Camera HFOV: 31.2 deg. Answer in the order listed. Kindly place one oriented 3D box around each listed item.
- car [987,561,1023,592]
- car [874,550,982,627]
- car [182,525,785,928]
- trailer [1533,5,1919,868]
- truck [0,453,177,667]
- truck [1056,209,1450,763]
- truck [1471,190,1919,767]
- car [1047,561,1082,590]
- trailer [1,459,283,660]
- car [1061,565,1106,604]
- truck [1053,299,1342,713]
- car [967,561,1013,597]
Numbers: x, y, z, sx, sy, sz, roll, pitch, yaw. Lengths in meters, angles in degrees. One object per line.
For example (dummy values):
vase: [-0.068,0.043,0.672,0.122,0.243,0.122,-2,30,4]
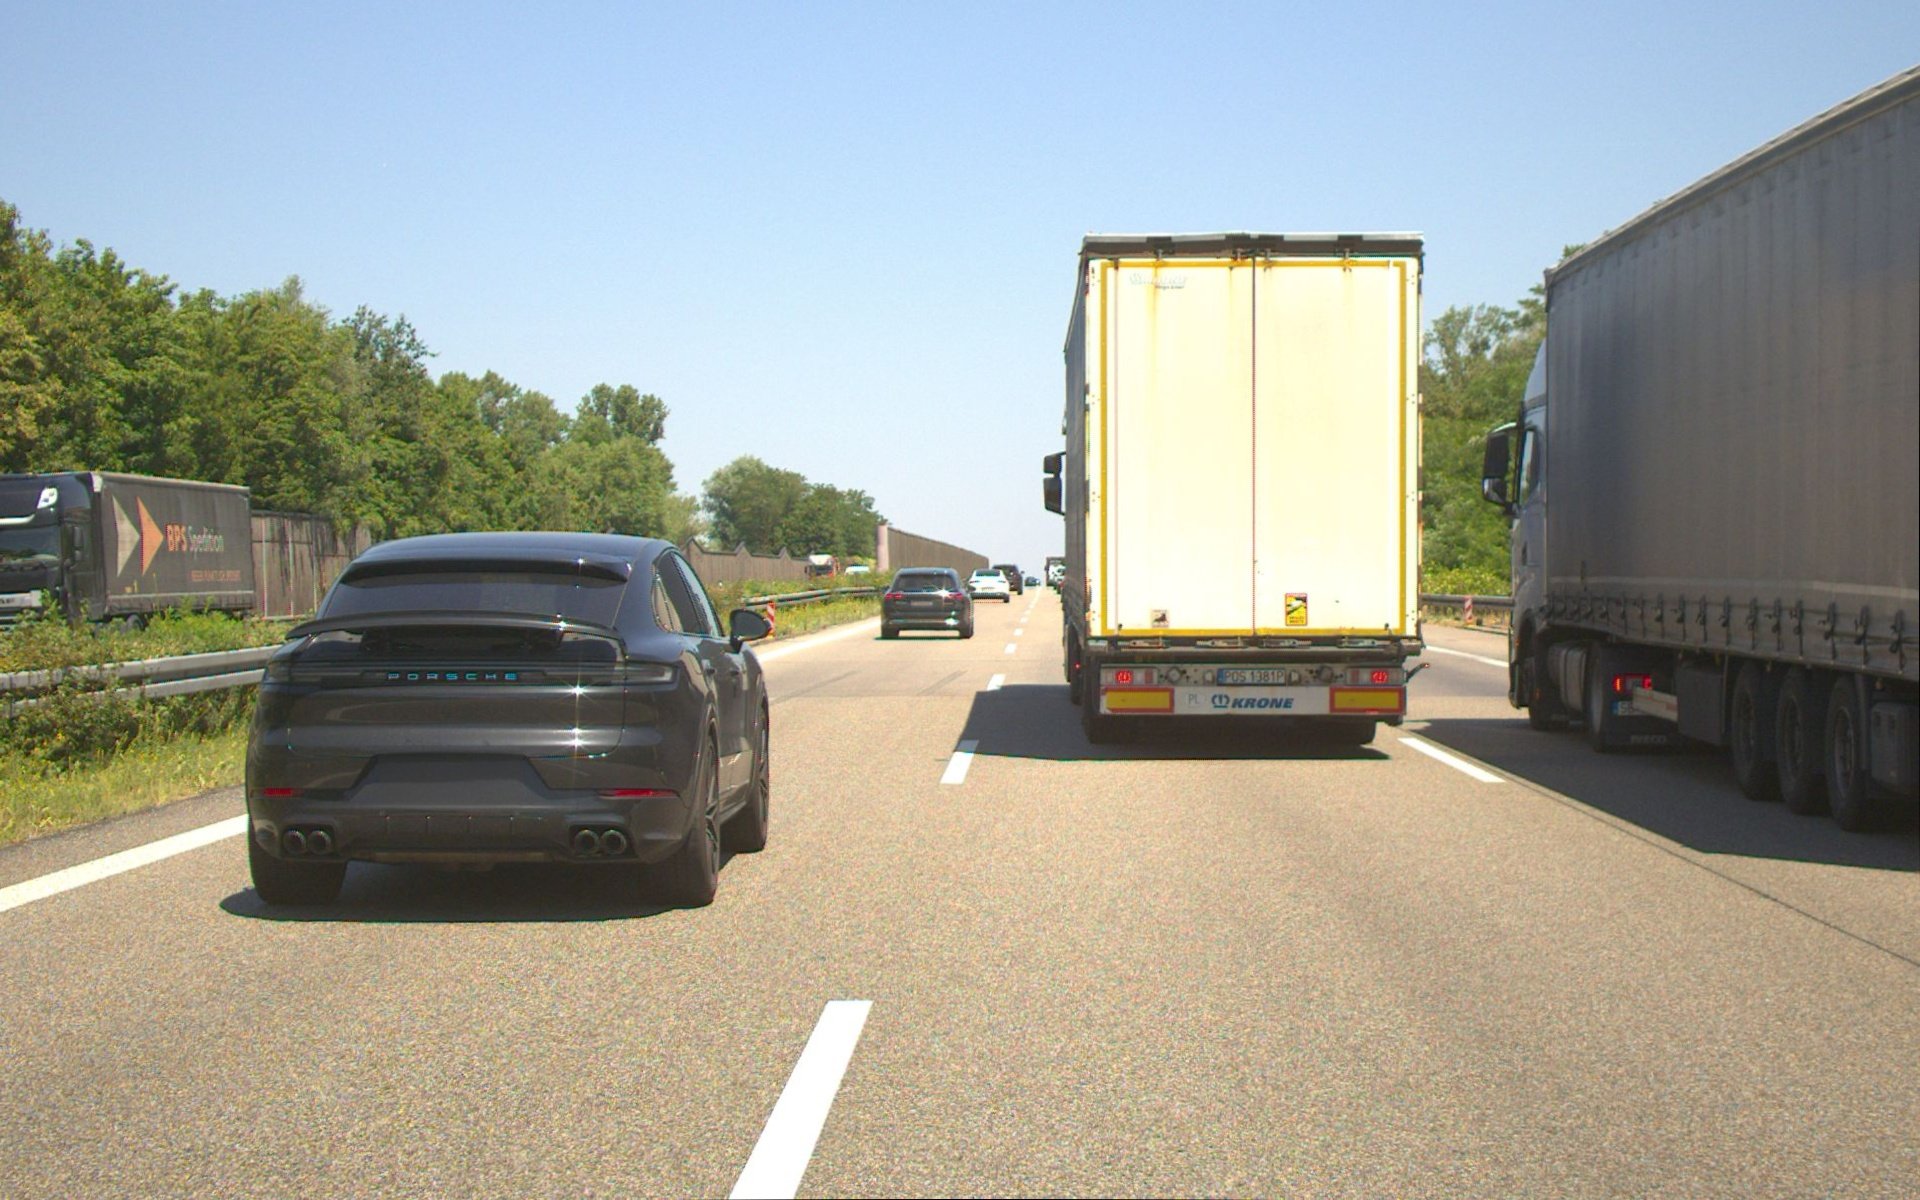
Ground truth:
car: [2.481,-1.287,190.099,1.855,1.611,4.000,-2,1,-1]
car: [-0.644,-0.278,73.545,1.943,1.501,5.820,-2,1,3]
car: [-2.078,0.468,16.807,2.044,1.619,5.772,0,1,1]
trailer: [6.138,-0.869,22.499,2.703,4.201,13.212,-1,1,1]
truck: [-18.312,-0.794,70.014,2.728,4.072,7.838,-1,1,1]
truck: [2.373,-0.923,32.387,2.707,4.072,13.473,-1,1,1]
truck: [6.261,-0.942,29.265,2.691,4.201,7.838,-1,1,1]
car: [6.174,-1.449,203.228,1.855,1.611,4.000,-2,1,0]
trailer: [-18.193,-0.899,77.652,2.728,4.072,13.890,-1,1,1]
car: [5.287,-0.673,147.576,1.855,1.611,4.000,-2,1,2]
truck: [2.473,-0.979,38.035,2.728,4.072,7.277,-1,1,1]
car: [1.342,-0.950,151.281,1.855,1.481,4.000,-2,1,2]
